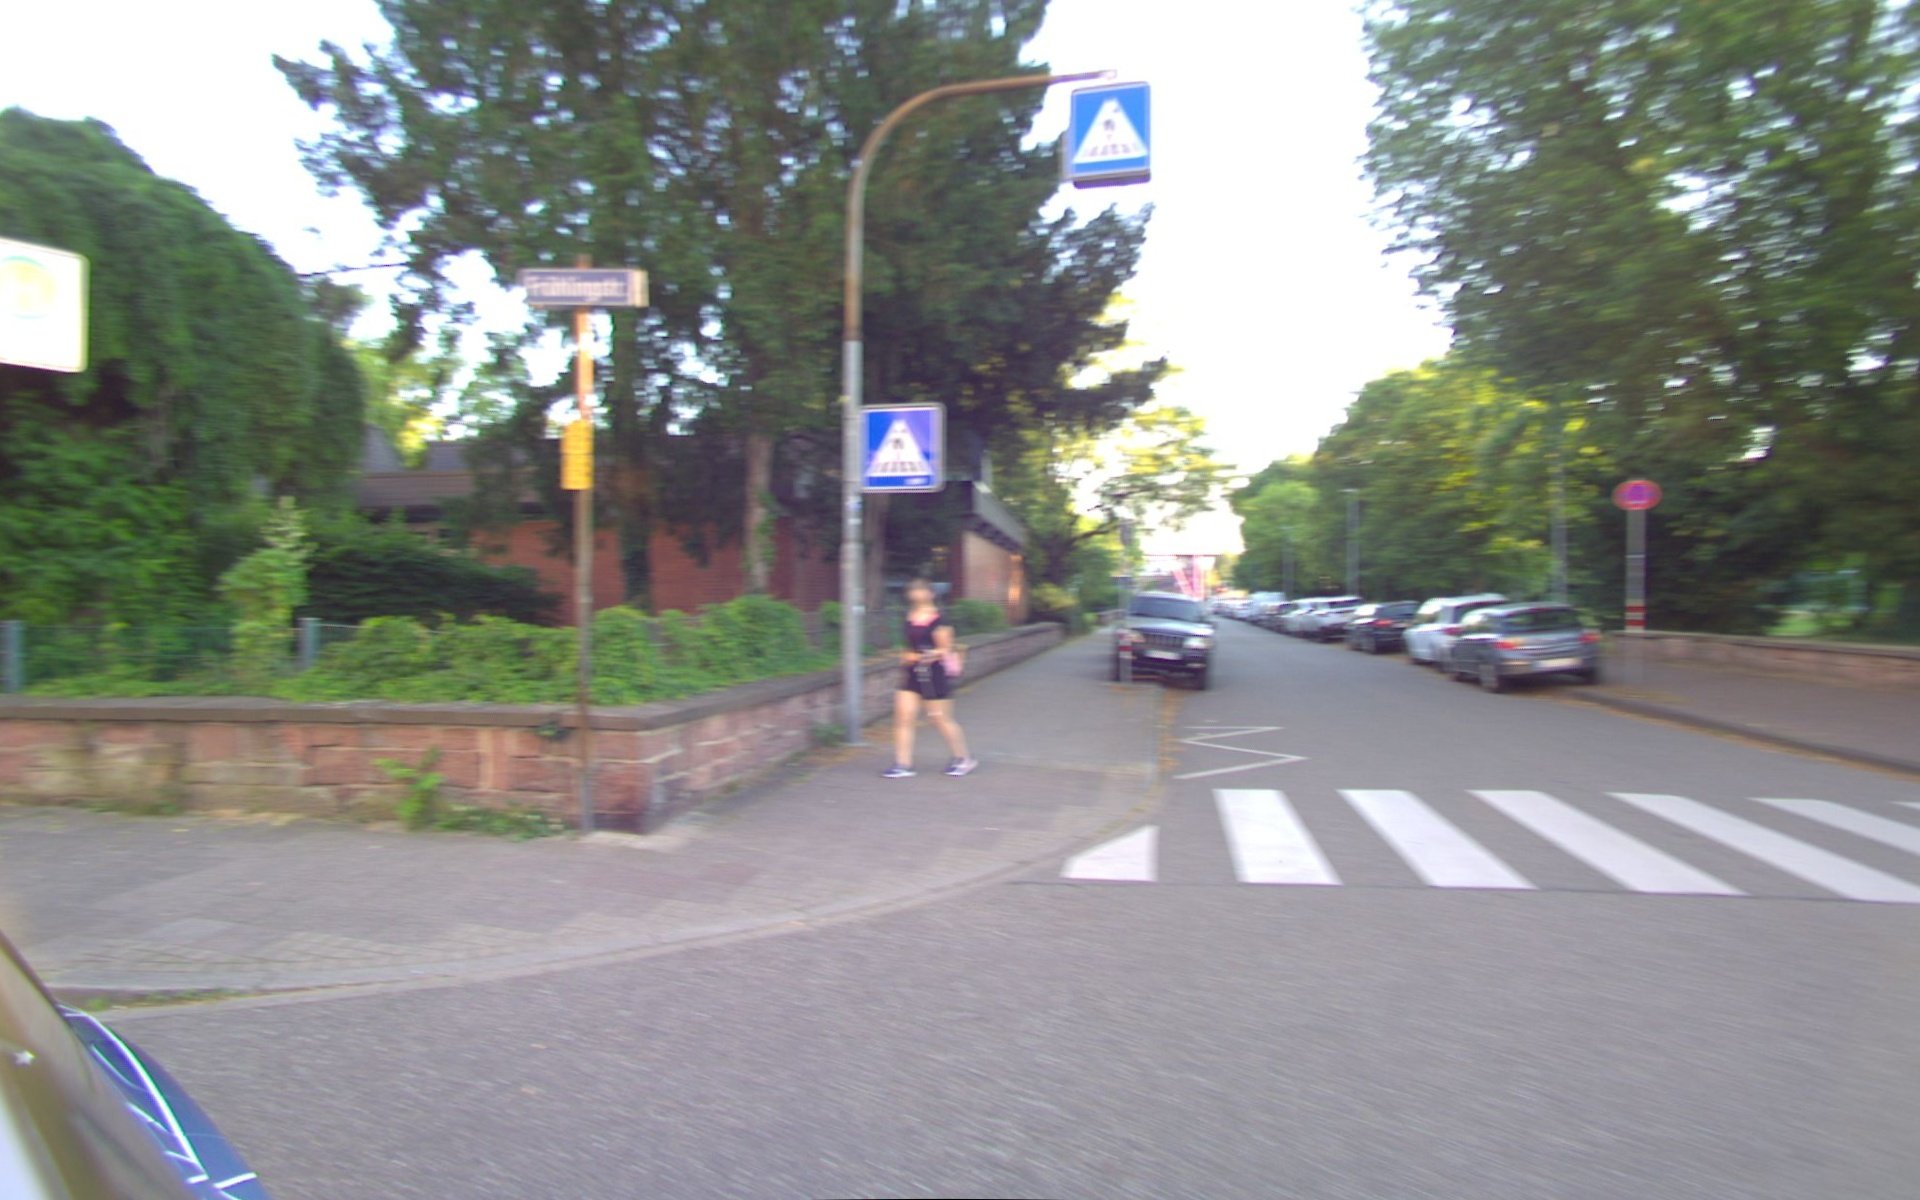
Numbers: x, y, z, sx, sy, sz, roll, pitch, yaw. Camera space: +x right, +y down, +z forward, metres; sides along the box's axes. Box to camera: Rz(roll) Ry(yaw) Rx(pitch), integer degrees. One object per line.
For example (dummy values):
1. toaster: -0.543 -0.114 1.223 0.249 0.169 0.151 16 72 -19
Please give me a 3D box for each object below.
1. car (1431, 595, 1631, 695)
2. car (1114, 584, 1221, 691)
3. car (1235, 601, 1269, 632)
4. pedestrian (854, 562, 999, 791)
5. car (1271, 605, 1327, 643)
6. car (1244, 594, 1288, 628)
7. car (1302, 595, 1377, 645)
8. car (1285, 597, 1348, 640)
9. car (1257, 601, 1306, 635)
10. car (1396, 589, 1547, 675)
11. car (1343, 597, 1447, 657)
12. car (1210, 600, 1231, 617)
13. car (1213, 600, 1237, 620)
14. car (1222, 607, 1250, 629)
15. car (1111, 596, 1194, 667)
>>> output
1. car: 10.043 0.755 18.163 1.768 1.462 3.873 -6 -2 9
2. car: 3.880 0.657 19.345 1.768 1.767 3.873 2 0 10
3. car: 21.318 1.179 74.069 1.768 2.052 3.873 -6 -2 9
4. pedestrian: -0.268 0.583 8.402 0.857 1.738 0.818 4 3 24
5. car: 16.185 1.139 48.472 1.768 1.583 3.873 -6 -2 9
6. car: 19.163 0.707 63.547 1.944 1.850 3.873 -6 -2 9
7. car: 14.076 0.740 37.730 1.768 1.583 3.873 -6 -2 9
8. car: 15.164 0.792 43.250 1.768 1.583 3.873 -6 -2 9
9. car: 17.112 0.975 53.992 1.768 1.583 3.873 -6 -2 9
10. car: 11.295 0.687 22.652 1.768 1.589 3.873 -6 -2 9
11. car: 12.573 0.772 29.510 1.768 1.487 3.873 -6 -2 9
12. car: 29.813 0.969 115.829 1.768 1.796 4.000 -6 -2 9
13. car: 26.008 1.006 99.475 1.768 1.796 4.000 -6 -2 9
14. car: 24.307 1.583 89.182 1.768 1.809 3.873 -6 -2 9
15. car: 4.701 0.735 25.038 1.768 1.511 3.873 4 0 10
